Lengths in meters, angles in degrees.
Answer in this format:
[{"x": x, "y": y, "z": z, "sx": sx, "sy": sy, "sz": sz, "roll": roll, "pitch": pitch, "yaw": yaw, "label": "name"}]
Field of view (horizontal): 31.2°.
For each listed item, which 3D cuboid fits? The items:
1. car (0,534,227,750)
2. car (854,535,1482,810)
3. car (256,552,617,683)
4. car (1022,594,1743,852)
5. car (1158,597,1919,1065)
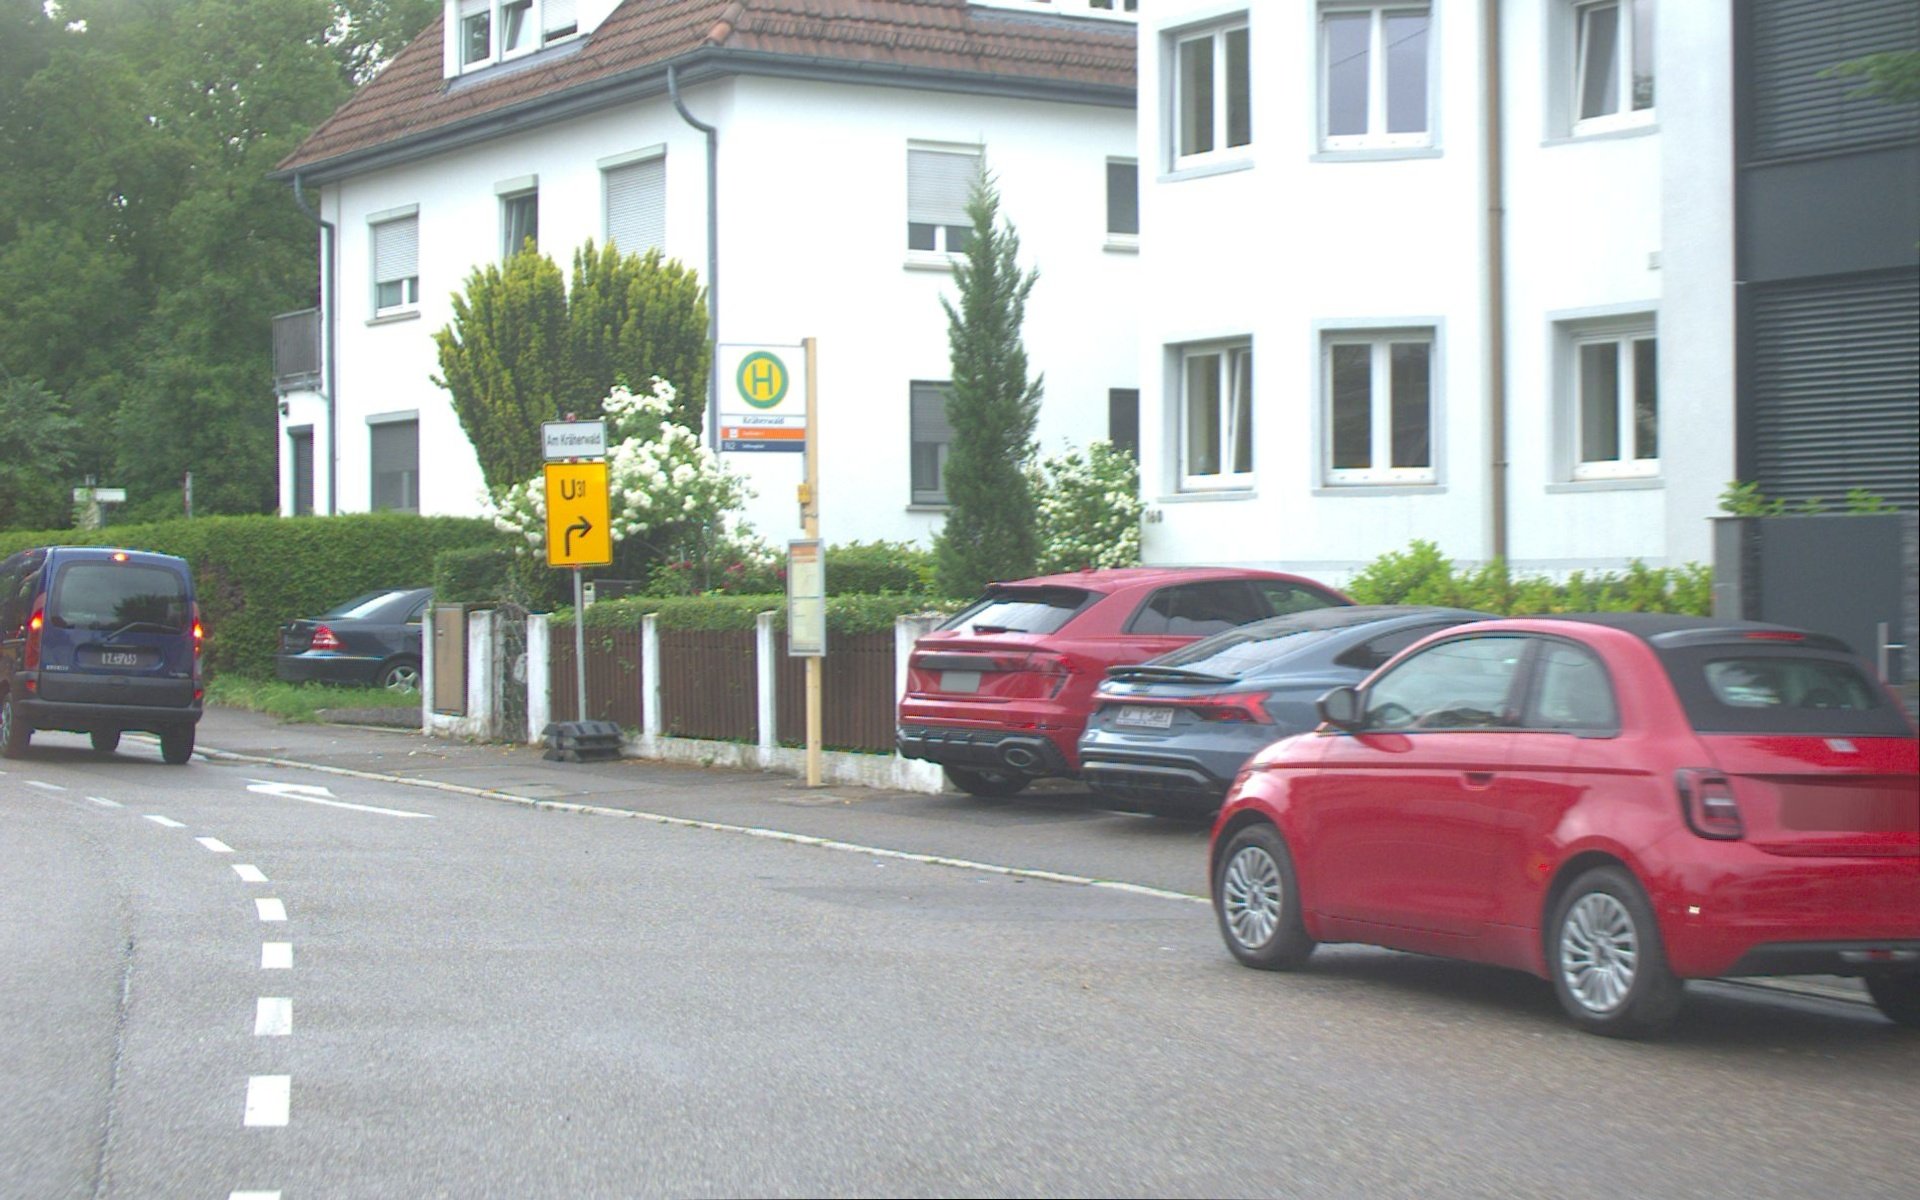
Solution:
[{"x": -7.958, "y": 0.355, "z": 30.716, "sx": 1.808, "sy": 1.791, "sz": 4.000, "roll": 0, "pitch": 0, "yaw": -27, "label": "car"}, {"x": 1.508, "y": 0.439, "z": 24.446, "sx": 4.073, "sy": 1.744, "sz": 2.000, "roll": -1, "pitch": 2, "yaw": -34, "label": "car"}, {"x": -5.997, "y": 0.176, "z": 39.450, "sx": 3.743, "sy": 1.383, "sz": 1.617, "roll": 0, "pitch": 3, "yaw": -30, "label": "car"}, {"x": 2.837, "y": 0.732, "z": 22.653, "sx": 4.548, "sy": 1.411, "sz": 2.000, "roll": -1, "pitch": 2, "yaw": -35, "label": "car"}, {"x": 2.403, "y": 0.806, "z": 13.629, "sx": 1.611, "sy": 1.532, "sz": 3.541, "roll": 2, "pitch": 0, "yaw": -27, "label": "car"}]
